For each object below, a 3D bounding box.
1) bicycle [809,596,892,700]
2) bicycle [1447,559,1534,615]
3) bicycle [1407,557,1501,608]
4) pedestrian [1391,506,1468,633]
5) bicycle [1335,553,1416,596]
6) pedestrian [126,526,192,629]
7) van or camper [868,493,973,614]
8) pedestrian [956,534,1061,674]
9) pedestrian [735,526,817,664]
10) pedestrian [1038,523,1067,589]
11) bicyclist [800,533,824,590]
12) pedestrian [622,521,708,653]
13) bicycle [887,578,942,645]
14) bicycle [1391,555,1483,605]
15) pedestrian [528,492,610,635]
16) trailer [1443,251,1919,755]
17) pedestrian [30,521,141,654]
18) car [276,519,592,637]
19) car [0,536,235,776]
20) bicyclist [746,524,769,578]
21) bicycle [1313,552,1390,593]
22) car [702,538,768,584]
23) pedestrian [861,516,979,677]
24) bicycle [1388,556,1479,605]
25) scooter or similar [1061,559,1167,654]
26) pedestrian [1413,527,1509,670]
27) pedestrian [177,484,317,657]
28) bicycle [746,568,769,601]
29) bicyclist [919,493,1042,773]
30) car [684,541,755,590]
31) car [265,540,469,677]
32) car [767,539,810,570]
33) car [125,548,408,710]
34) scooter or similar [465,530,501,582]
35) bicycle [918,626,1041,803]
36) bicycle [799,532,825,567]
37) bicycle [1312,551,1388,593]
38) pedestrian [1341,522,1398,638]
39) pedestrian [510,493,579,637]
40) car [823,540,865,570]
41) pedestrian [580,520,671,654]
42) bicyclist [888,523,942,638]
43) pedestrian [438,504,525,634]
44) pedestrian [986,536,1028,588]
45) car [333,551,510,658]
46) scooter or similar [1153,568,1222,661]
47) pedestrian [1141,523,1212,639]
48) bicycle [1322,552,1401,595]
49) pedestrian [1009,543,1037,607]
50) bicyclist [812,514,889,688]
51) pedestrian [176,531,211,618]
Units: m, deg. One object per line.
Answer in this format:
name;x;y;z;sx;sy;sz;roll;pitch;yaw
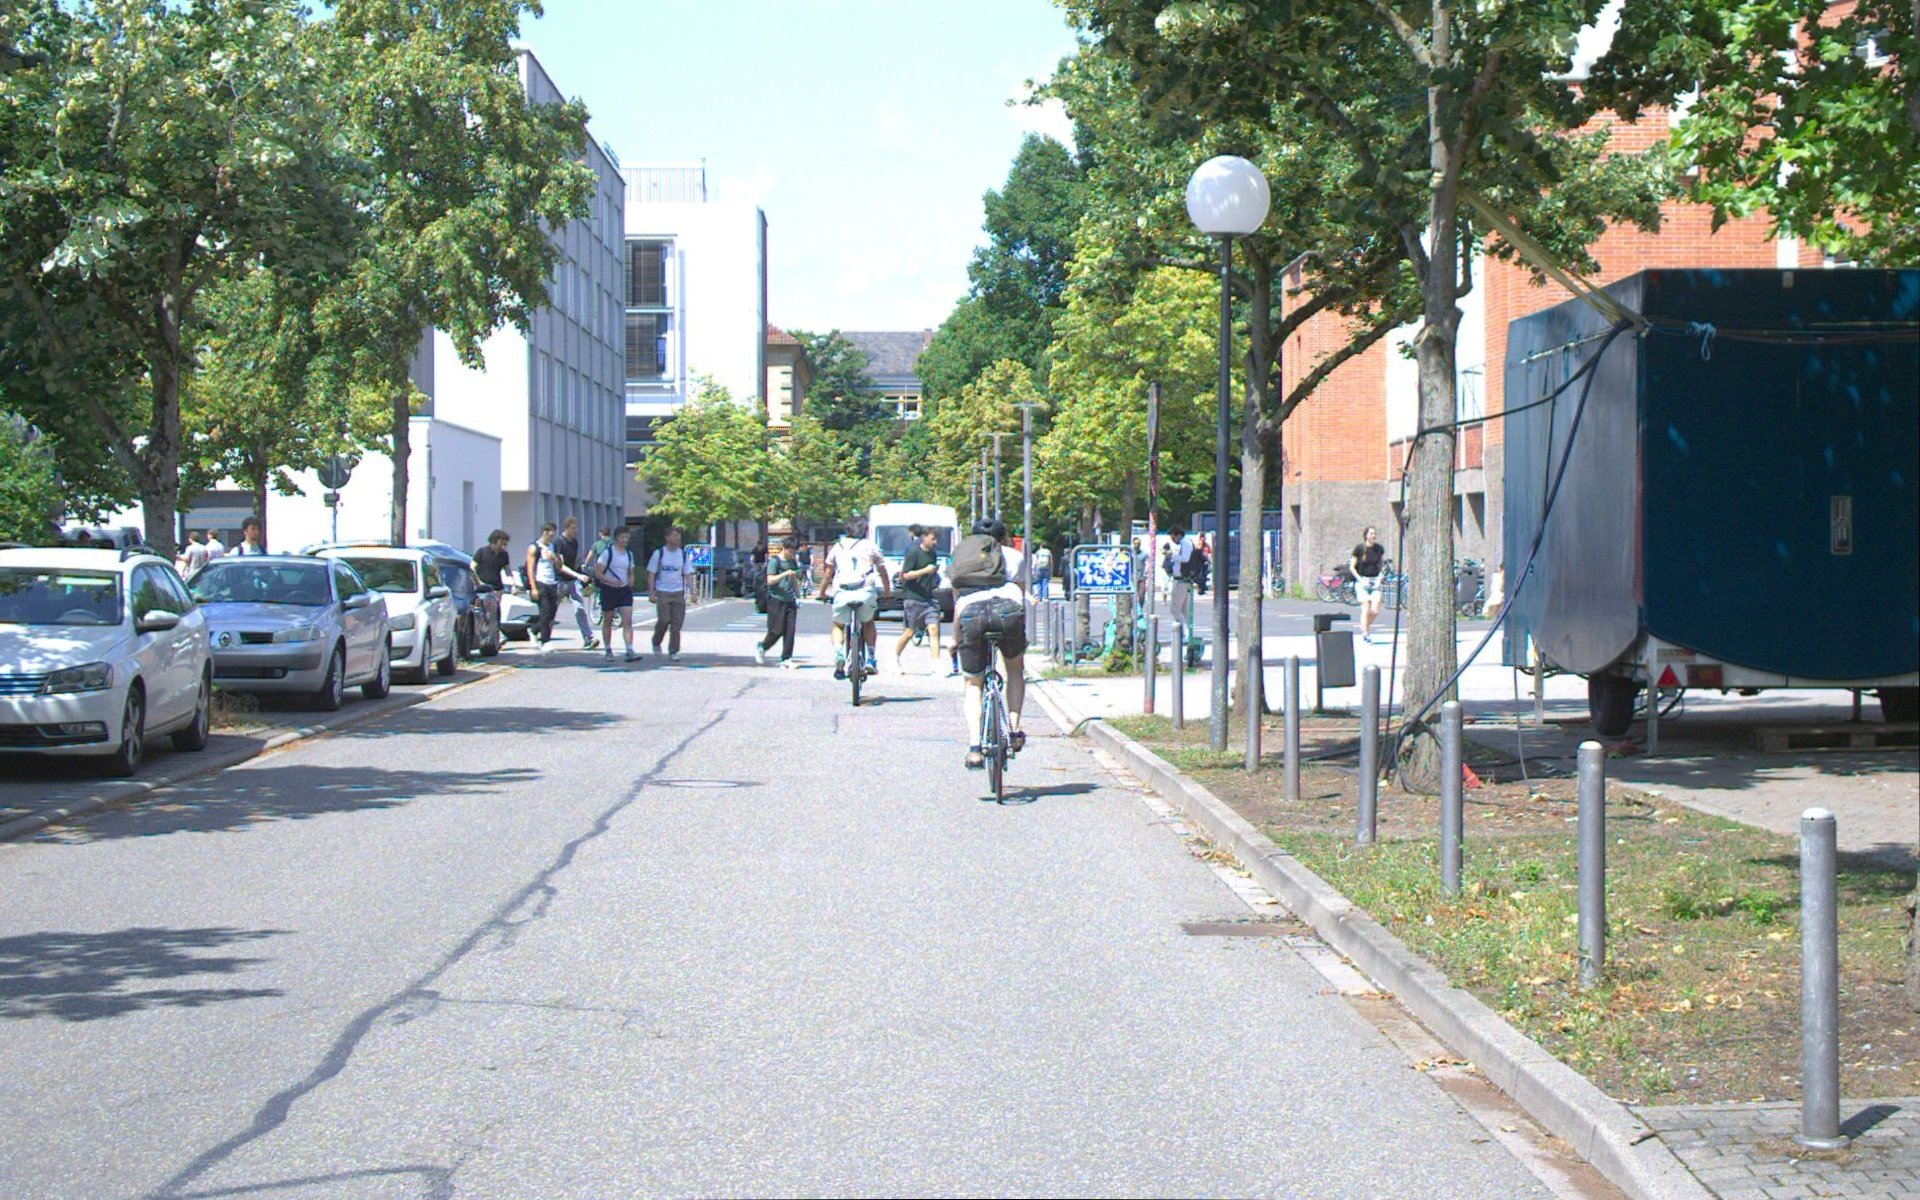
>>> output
bicycle;-1.102;0.472;34.880;0.808;0.999;2.124;-1;0;-1
bicycle;9.954;-0.247;64.535;1.535;1.029;0.560;-1;1;-1
bicycle;10.128;-0.359;70.497;1.809;0.981;0.560;-2;1;-1
pedestrian;6.810;-0.455;49.892;0.708;1.781;0.753;-5;3;-22
bicycle;9.840;-0.603;81.463;1.809;0.981;0.560;-2;1;-1
pedestrian;-13.925;-0.384;59.773;0.982;1.779;0.669;0;0;-2
van or camper;-0.797;-0.960;72.757;1.993;2.437;4.569;-1;0;2
pedestrian;0.563;0.043;39.974;0.848;1.589;0.830;-3;2;-44
pedestrian;-2.358;-0.075;43.919;0.701;1.714;0.994;3;0;-21
pedestrian;2.644;-1.269;98.434;0.790;1.853;1.026;-1;1;0
bicyclist;-4.447;-1.163;103.441;0.667;1.676;0.993;-1;1;0
pedestrian;-3.917;-0.182;45.691;0.908;1.733;0.677;0;1;37
bicycle;-0.694;0.172;53.127;0.808;0.999;2.124;1;0;0
bicycle;9.955;-0.420;71.725;1.809;0.981;0.560;-2;1;-1
pedestrian;-5.540;-0.520;48.699;0.827;1.973;0.691;4;2;23
trailer;5.316;-0.650;24.162;2.691;3.041;6.258;-1;1;-2
pedestrian;-13.580;-0.189;53.406;1.176;1.898;1.016;-2;-9;26
car;-8.281;-0.345;54.140;4.511;1.613;1.922;3;0;23
car;-6.212;0.306;23.472;1.725;1.451;4.584;2;1;-3
bicyclist;-6.051;-1.453;102.635;0.643;1.596;0.909;-1;1;-3
bicycle;9.724;-0.682;85.333;1.809;0.981;0.560;-2;1;-1
car;-7.641;-1.357;117.125;1.795;1.525;4.000;0;1;3
pedestrian;-0.497;-0.056;42.458;1.115;1.853;0.853;6;6;35
bicycle;9.971;-0.410;72.360;1.809;0.981;0.560;-2;1;-1
scooter or similar;2.076;0.080;46.347;1.263;1.260;0.638;0;1;31
pedestrian;5.984;-0.028;41.088;0.875;1.632;0.949;-4;1;-1
pedestrian;-7.421;-0.306;35.792;1.107;1.710;0.709;3;-3;34
bicycle;-6.029;-0.462;102.561;0.677;0.961;2.003;0;1;-3
bicyclist;0.135;0.192;21.006;0.717;1.656;1.095;0;0;1
car;-7.655;-1.114;109.713;1.795;1.525;4.000;0;1;3
car;-6.518;0.055;38.121;1.662;1.407;3.807;1;1;-1
car;-8.768;-2.346;176.445;1.795;1.525;4.000;0;1;3
car;-6.365;0.222;31.973;1.725;1.339;4.165;2;1;0
scooter or similar;-11.125;-1.027;80.142;0.378;1.212;1.204;0;1;15
bicycle;0.132;0.671;20.864;0.706;0.990;1.910;1;0;1
bicycle;-4.437;-1.502;103.030;0.677;0.961;2.003;2;-1;0
bicycle;9.777;-0.702;86.297;1.809;0.981;0.560;-2;1;-1
pedestrian;5.910;-0.290;49.667;0.501;1.625;0.571;-5;3;-22
pedestrian;-5.773;-0.477;47.776;0.616;1.973;0.829;-1;0;-32
car;-5.932;-2.294;175.548;1.795;1.525;4.000;0;1;3
pedestrian;-4.400;-0.169;45.170;0.983;1.733;0.699;0;0;39
bicyclist;-0.697;-0.305;53.147;0.808;1.750;0.692;1;0;0
pedestrian;-6.689;-0.440;48.101;0.802;1.766;0.853;4;2;23
pedestrian;1.885;-1.539;139.039;1.499;1.989;1.646;-3;2;-3
car;-6.895;0.029;44.322;1.645;1.296;3.928;0;1;0
scooter or similar;2.920;0.181;43.990;0.649;1.156;1.264;0;1;14
pedestrian;3.302;-0.297;52.466;0.959;1.688;0.704;2;3;9
bicycle;9.702;-0.632;82.996;1.809;0.981;0.560;-2;1;-1
pedestrian;1.849;-0.729;100.328;0.790;1.853;1.026;0;1;0
bicyclist;-1.104;0.004;34.881;0.771;1.750;0.848;0;1;-1
pedestrian;-15.542;-0.521;69.716;0.551;1.758;0.586;1;0;0
